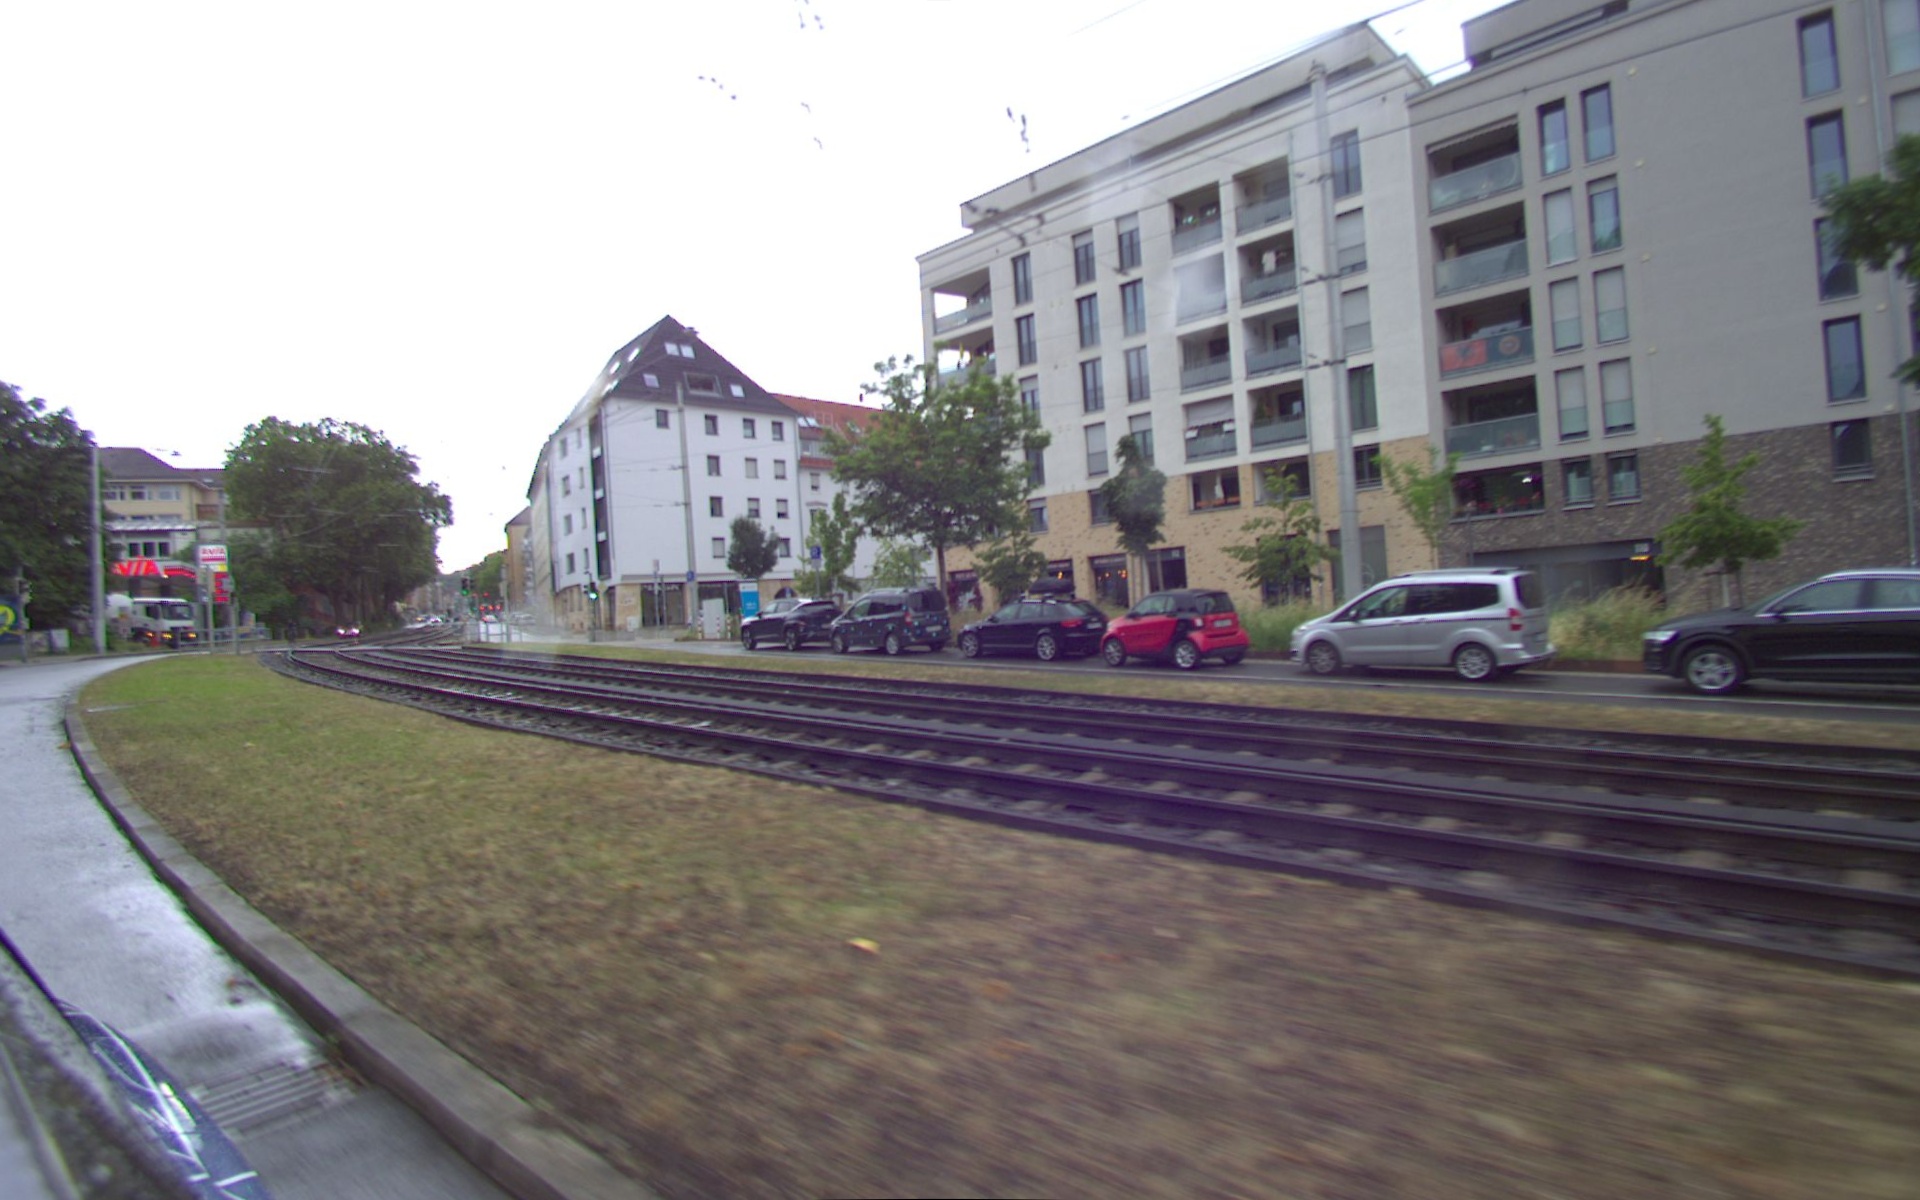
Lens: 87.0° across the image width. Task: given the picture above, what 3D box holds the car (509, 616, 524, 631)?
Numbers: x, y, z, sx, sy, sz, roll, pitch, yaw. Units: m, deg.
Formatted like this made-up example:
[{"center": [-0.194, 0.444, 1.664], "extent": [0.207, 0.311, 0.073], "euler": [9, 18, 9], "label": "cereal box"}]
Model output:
[{"center": [-61.055, 3.172, 139.254], "extent": [1.700, 1.974, 4.313], "euler": [-2, 0, -26], "label": "car"}]

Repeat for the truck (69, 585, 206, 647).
[{"center": [-49.246, 0.960, 60.682], "extent": [6.046, 3.425, 2.834], "euler": [-2, -1, 4], "label": "truck"}]

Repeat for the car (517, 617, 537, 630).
[{"center": [-55.422, 2.985, 129.412], "extent": [1.996, 1.554, 4.013], "euler": [-2, 0, -28], "label": "car"}]

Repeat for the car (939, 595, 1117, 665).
[{"center": [1.530, 0.685, 24.235], "extent": [1.532, 1.458, 4.405], "euler": [-3, 1, -42], "label": "car"}]

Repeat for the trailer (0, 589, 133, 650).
[{"center": [-55.752, 1.224, 61.130], "extent": [9.709, 3.421, 2.810], "euler": [-2, 0, 4], "label": "trailer"}]

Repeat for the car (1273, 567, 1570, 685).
[{"center": [7.692, 0.399, 17.178], "extent": [1.644, 1.761, 4.260], "euler": [-2, 1, -44], "label": "car"}]

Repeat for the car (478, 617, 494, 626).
[{"center": [-86.029, 3.959, 183.468], "extent": [1.664, 1.548, 5.029], "euler": [-1, -1, -36], "label": "car"}]

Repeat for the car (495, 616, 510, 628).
[{"center": [-79.594, 3.859, 176.133], "extent": [1.996, 2.029, 4.241], "euler": [-2, 0, -28], "label": "car"}]

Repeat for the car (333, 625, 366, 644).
[{"center": [-53.803, 3.013, 89.270], "extent": [1.858, 1.502, 3.862], "euler": [-1, 0, -21], "label": "car"}]

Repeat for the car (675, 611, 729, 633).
[{"center": [-17.391, 1.477, 68.160], "extent": [3.915, 1.431, 1.579], "euler": [-2, 0, 42], "label": "car"}]

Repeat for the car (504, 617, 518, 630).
[{"center": [-68.388, 3.595, 154.167], "extent": [1.698, 1.822, 3.603], "euler": [-2, 0, -28], "label": "car"}]

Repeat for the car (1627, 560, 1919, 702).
[{"center": [11.425, 0.353, 12.963], "extent": [1.712, 1.656, 4.534], "euler": [-3, 1, -45], "label": "car"}]

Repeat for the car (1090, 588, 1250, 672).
[{"center": [4.227, 0.579, 20.643], "extent": [1.450, 1.542, 2.937], "euler": [-2, 0, -38], "label": "car"}]

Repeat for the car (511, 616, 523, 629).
[{"center": [-65.163, 3.304, 148.752], "extent": [1.531, 1.897, 4.054], "euler": [-2, 0, -25], "label": "car"}]

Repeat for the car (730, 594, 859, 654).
[{"center": [-5.241, 0.732, 31.724], "extent": [1.970, 1.616, 4.221], "euler": [-6, 3, -41], "label": "car"}]

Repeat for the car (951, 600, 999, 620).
[{"center": [1.305, 0.851, 88.491], "extent": [1.912, 1.630, 4.002], "euler": [-1, -1, -44], "label": "car"}]

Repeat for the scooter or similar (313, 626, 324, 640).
[{"center": [-60.476, 3.146, 95.384], "extent": [0.394, 1.201, 1.366], "euler": [-1, 2, -11], "label": "scooter or similar"}]

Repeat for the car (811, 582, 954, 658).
[{"center": [-2.215, 0.521, 27.986], "extent": [1.562, 1.873, 4.338], "euler": [-4, 2, -42], "label": "car"}]
